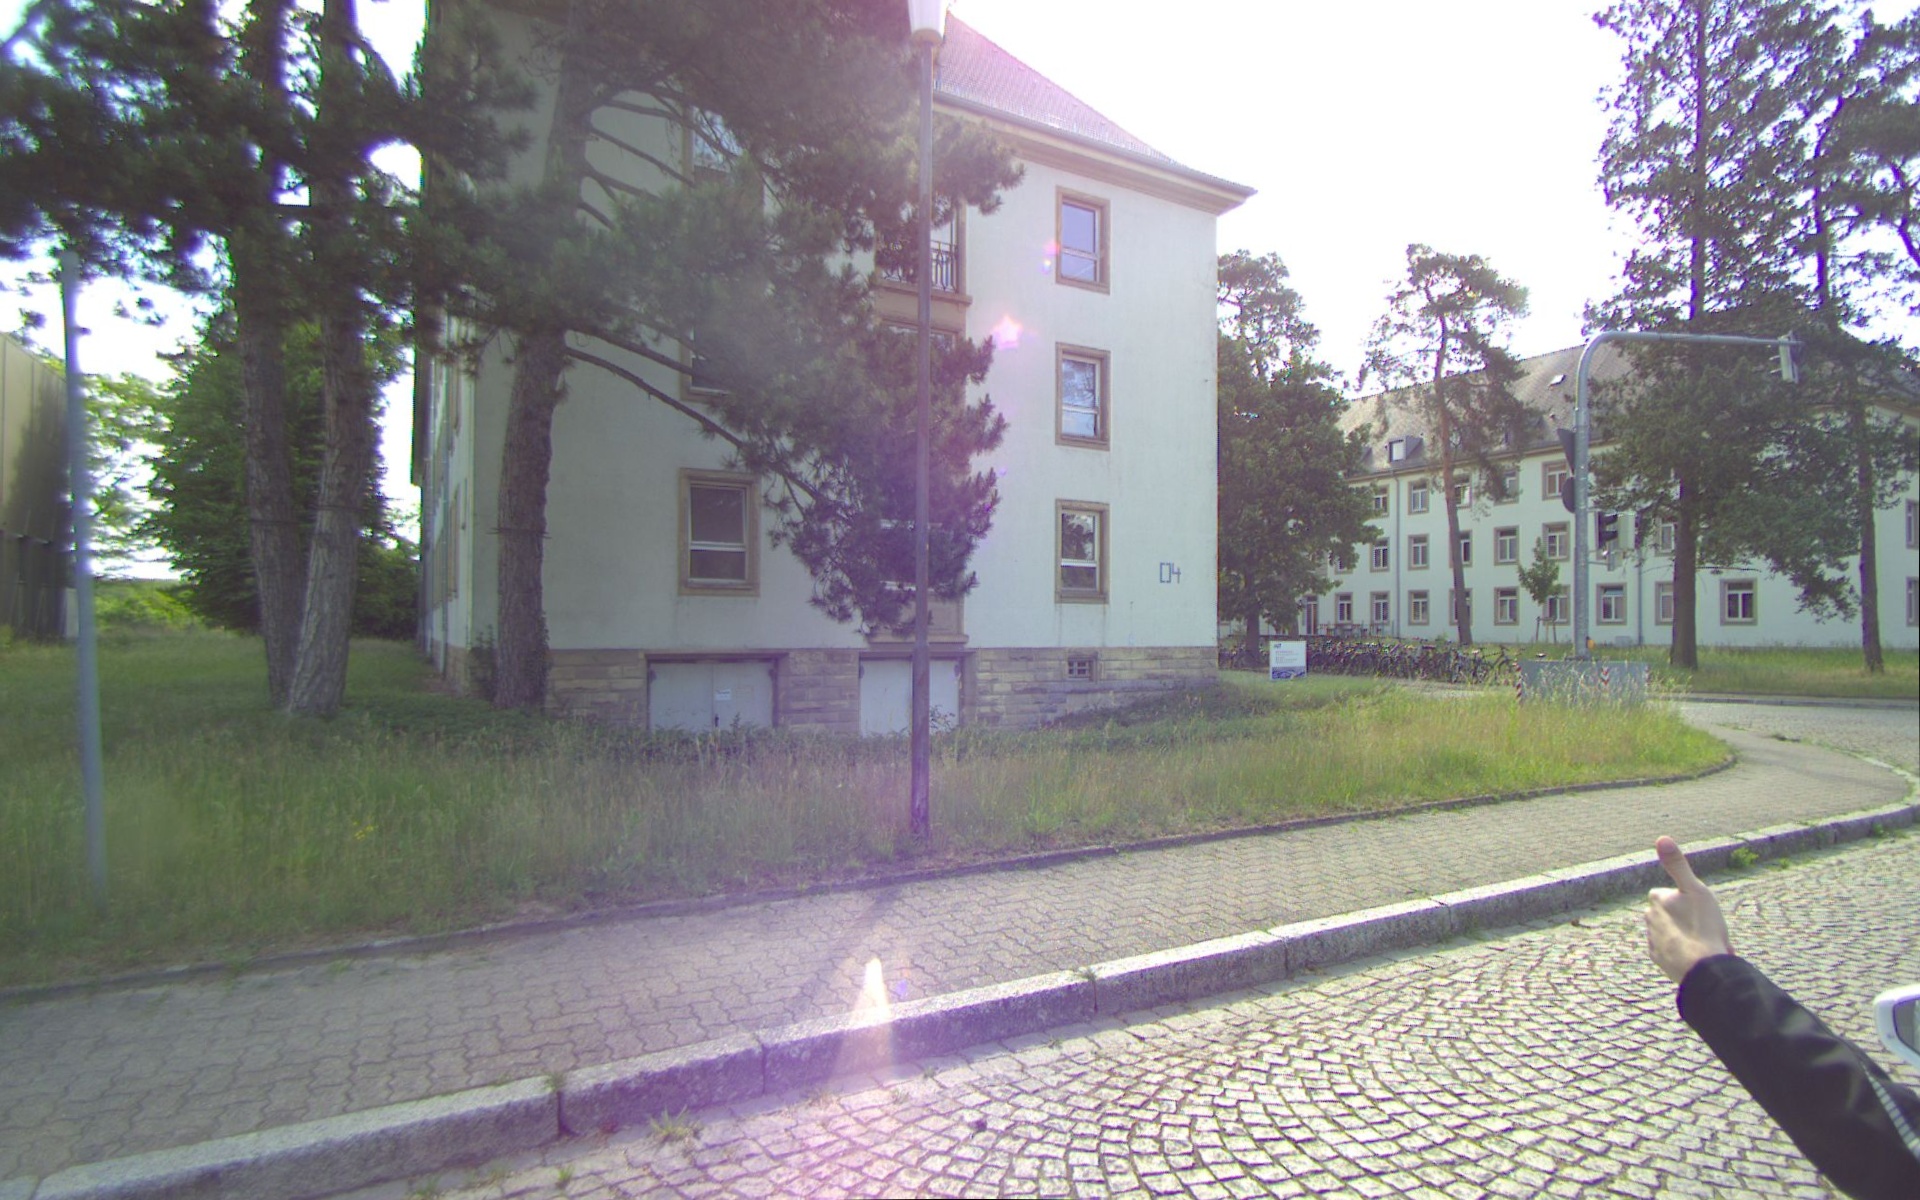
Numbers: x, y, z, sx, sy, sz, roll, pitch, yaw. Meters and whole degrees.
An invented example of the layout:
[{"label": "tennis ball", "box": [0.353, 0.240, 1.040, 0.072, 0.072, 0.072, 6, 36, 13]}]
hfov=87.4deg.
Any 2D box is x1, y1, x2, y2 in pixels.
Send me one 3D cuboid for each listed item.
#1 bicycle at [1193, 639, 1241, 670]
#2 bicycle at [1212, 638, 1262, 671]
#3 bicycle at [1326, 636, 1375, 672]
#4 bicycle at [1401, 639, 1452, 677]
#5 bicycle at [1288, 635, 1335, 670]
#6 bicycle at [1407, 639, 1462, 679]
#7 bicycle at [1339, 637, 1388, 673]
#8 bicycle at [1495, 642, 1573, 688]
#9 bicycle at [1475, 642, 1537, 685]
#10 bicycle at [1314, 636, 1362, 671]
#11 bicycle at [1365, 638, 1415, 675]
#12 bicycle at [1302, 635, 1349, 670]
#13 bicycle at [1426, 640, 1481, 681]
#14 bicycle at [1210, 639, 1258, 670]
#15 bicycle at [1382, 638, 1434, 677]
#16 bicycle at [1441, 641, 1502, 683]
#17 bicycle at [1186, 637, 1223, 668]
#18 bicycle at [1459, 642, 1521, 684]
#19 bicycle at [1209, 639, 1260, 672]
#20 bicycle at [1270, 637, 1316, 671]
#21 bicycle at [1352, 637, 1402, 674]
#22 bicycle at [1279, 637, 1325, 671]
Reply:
[{"label": "bicycle", "box": [10.137, 2.144, 39.612, 1.792, 1.236, 0.516, 0, -1, 7]}, {"label": "bicycle", "box": [10.631, 2.098, 38.613, 1.794, 1.236, 0.515, -1, -2, 25]}, {"label": "bicycle", "box": [13.739, 1.899, 35.311, 1.914, 1.236, 0.512, 1, -2, -31]}, {"label": "bicycle", "box": [15.380, 1.901, 33.081, 1.877, 1.236, 0.545, 1, -2, -31]}, {"label": "bicycle", "box": [12.911, 1.906, 36.851, 1.914, 1.236, 0.512, 1, -2, -31]}, {"label": "bicycle", "box": [15.300, 1.894, 32.369, 2.005, 1.236, 0.576, 1, -2, -31]}, {"label": "bicycle", "box": [14.000, 1.897, 34.822, 1.931, 1.236, 0.512, 1, -2, -31]}, {"label": "bicycle", "box": [16.140, 1.807, 28.286, 0.627, 1.236, 1.853, 1, -2, -29]}, {"label": "bicycle", "box": [16.173, 1.871, 29.764, 2.089, 1.236, 0.630, 1, -2, -31]}, {"label": "bicycle", "box": [13.492, 1.901, 35.799, 1.914, 1.236, 0.512, 1, -2, -31]}, {"label": "bicycle", "box": [14.541, 1.900, 33.931, 1.954, 1.236, 0.512, 1, -2, -31]}, {"label": "bicycle", "box": [13.219, 1.904, 36.325, 1.914, 1.236, 0.512, 1, -2, -31]}, {"label": "bicycle", "box": [15.553, 1.886, 31.652, 1.966, 1.236, 0.569, 1, -2, -31]}, {"label": "bicycle", "box": [10.934, 2.163, 40.076, 1.792, 1.236, 0.516, 0, -1, 7]}, {"label": "bicycle", "box": [14.896, 1.899, 33.390, 1.992, 1.236, 0.512, 1, -2, -31]}, {"label": "bicycle", "box": [15.642, 1.876, 30.712, 2.080, 1.236, 0.630, 1, -2, -31]}, {"label": "bicycle", "box": [10.031, 2.152, 41.114, 1.814, 1.236, 0.510, 2, -2, -41]}, {"label": "bicycle", "box": [15.930, 1.873, 30.181, 2.099, 1.236, 0.630, 1, -2, -31]}, {"label": "bicycle", "box": [10.393, 2.094, 38.010, 1.794, 1.236, 0.515, -1, -2, 25]}, {"label": "bicycle", "box": [12.479, 2.002, 37.630, 1.914, 1.236, 0.512, 1, -2, -31]}, {"label": "bicycle", "box": [14.284, 1.898, 34.380, 1.954, 1.236, 0.512, 1, -2, -31]}, {"label": "bicycle", "box": [12.688, 2.001, 37.255, 1.914, 1.236, 0.512, 1, -2, -31]}]
